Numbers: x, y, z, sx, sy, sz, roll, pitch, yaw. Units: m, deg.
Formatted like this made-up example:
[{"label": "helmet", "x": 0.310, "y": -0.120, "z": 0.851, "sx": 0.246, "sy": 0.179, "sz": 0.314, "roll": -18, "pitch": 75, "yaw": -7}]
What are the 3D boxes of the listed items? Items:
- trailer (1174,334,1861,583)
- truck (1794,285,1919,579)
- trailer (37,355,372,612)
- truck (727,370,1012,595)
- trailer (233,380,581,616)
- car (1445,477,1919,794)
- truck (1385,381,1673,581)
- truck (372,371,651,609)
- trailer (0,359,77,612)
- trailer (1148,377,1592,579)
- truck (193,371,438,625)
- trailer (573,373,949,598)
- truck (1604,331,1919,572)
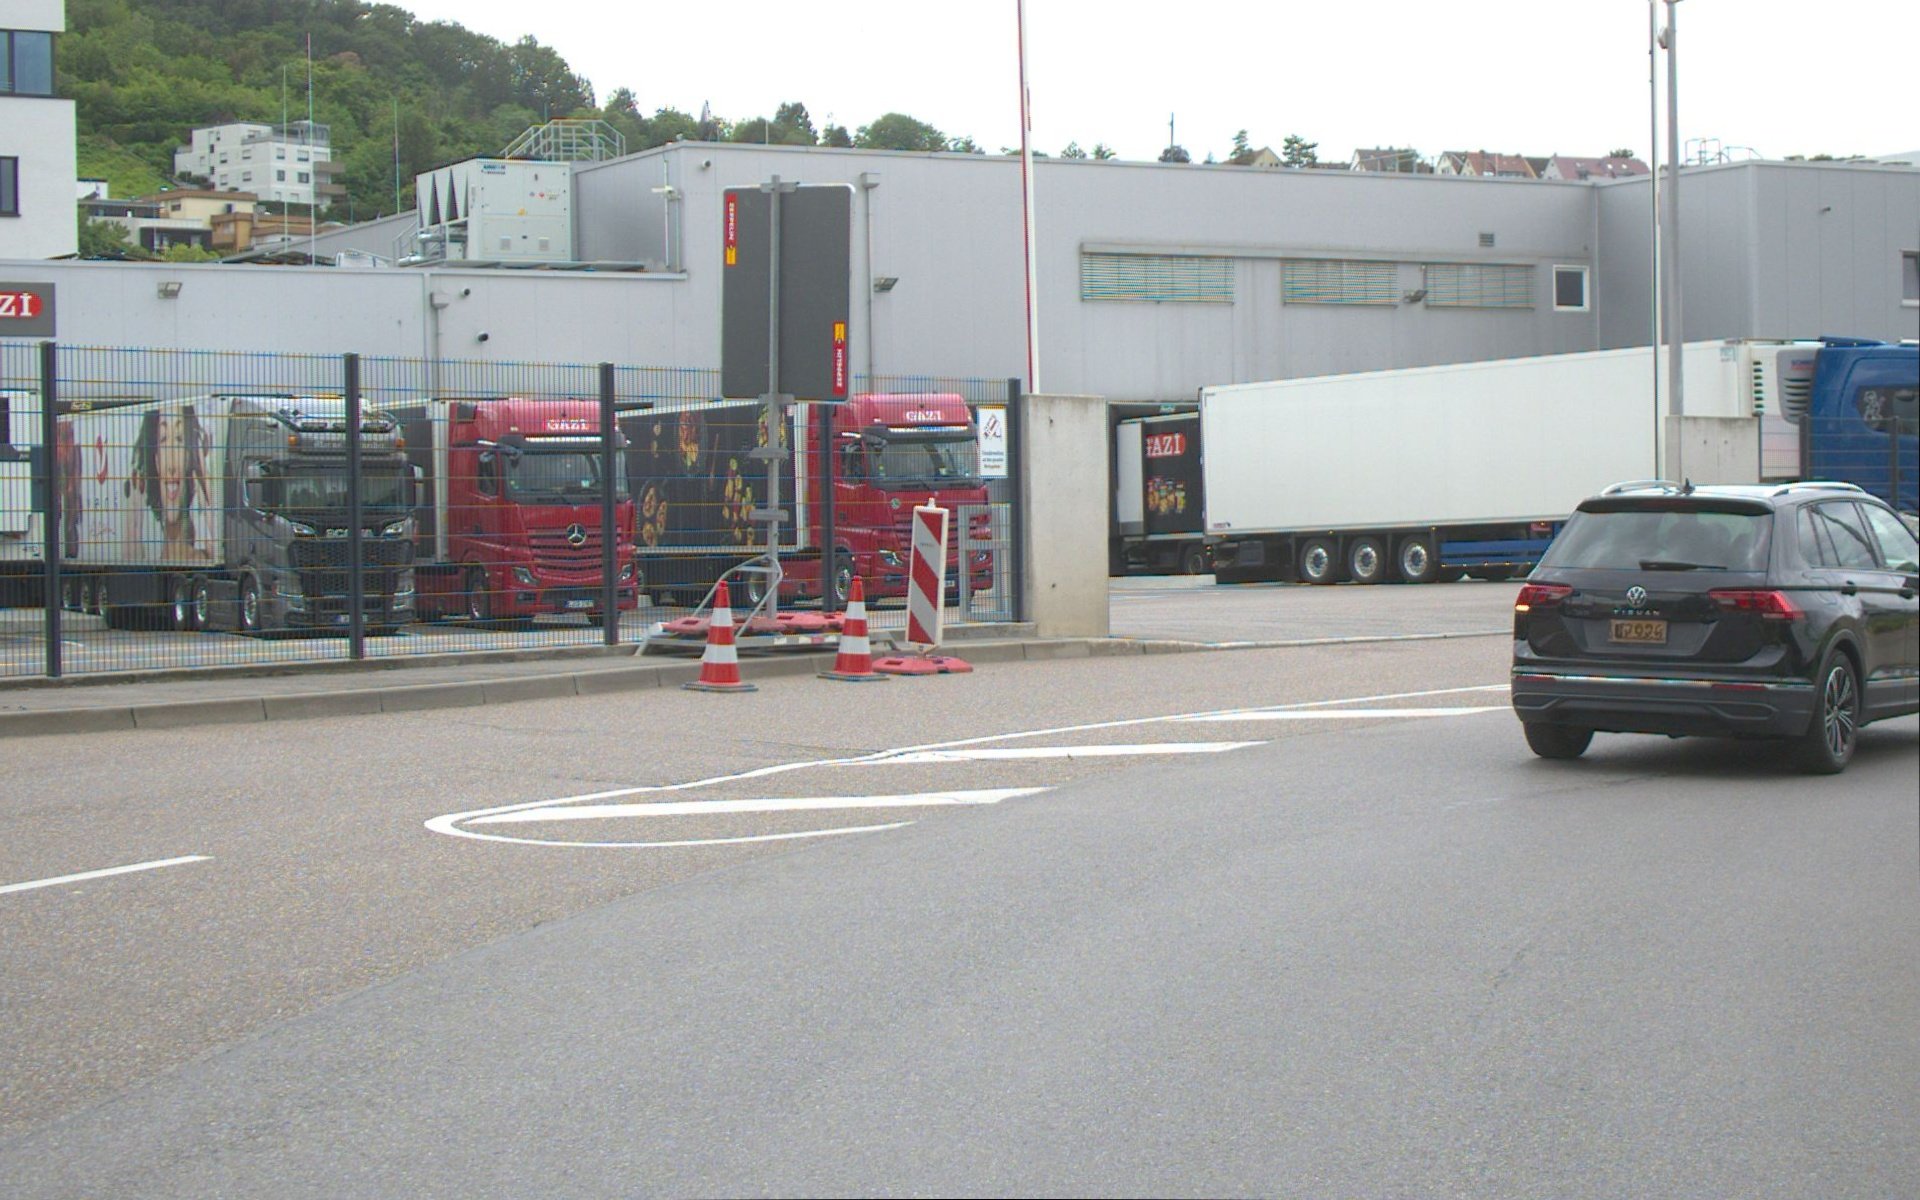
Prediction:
[{"label": "trailer", "x": 9.952, "y": -2.517, "z": 64.021, "sx": 3.028, "sy": 4.169, "sz": 14.014, "roll": -1, "pitch": 2, "yaw": -40}, {"label": "truck", "x": 15.084, "y": -2.371, "z": 49.808, "sx": 2.929, "sy": 4.006, "sz": 6.925, "roll": 1, "pitch": 2, "yaw": 42}, {"label": "trailer", "x": -14.010, "y": -2.051, "z": 62.870, "sx": 2.783, "sy": 4.286, "sz": 11.183, "roll": -1, "pitch": 1, "yaw": -29}, {"label": "truck", "x": -1.746, "y": -2.106, "z": 63.146, "sx": 2.793, "sy": 3.915, "sz": 5.926, "roll": -1, "pitch": 1, "yaw": -29}, {"label": "trailer", "x": -10.608, "y": -1.853, "z": 64.679, "sx": 2.783, "sy": 4.063, "sz": 10.997, "roll": -1, "pitch": 1, "yaw": -29}, {"label": "car", "x": 4.728, "y": 0.107, "z": 20.527, "sx": 1.997, "sy": 1.678, "sz": 4.363, "roll": 1, "pitch": 2, "yaw": 33}, {"label": "truck", "x": 11.601, "y": -2.419, "z": 70.631, "sx": 2.793, "sy": 3.914, "sz": 5.926, "roll": -1, "pitch": 2, "yaw": -28}, {"label": "truck", "x": -7.887, "y": -1.871, "z": 59.864, "sx": 2.793, "sy": 3.915, "sz": 5.926, "roll": -1, "pitch": 1, "yaw": -29}, {"label": "trailer", "x": -18.541, "y": -1.925, "z": 60.149, "sx": 3.081, "sy": 4.063, "sz": 11.411, "roll": -1, "pitch": 1, "yaw": -29}, {"label": "trailer", "x": 8.737, "y": -2.619, "z": 76.067, "sx": 2.774, "sy": 4.093, "sz": 13.095, "roll": -1, "pitch": 2, "yaw": -28}, {"label": "truck", "x": -10.728, "y": -1.675, "z": 57.042, "sx": 2.793, "sy": 4.026, "sz": 4.165, "roll": -1, "pitch": 1, "yaw": -29}, {"label": "trailer", "x": -4.127, "y": -2.169, "z": 67.497, "sx": 2.783, "sy": 4.063, "sz": 10.997, "roll": -1, "pitch": 1, "yaw": -29}, {"label": "truck", "x": 14.327, "y": -2.514, "z": 59.651, "sx": 5.605, "sy": 4.006, "sz": 2.927, "roll": 0, "pitch": 1, "yaw": 26}]
